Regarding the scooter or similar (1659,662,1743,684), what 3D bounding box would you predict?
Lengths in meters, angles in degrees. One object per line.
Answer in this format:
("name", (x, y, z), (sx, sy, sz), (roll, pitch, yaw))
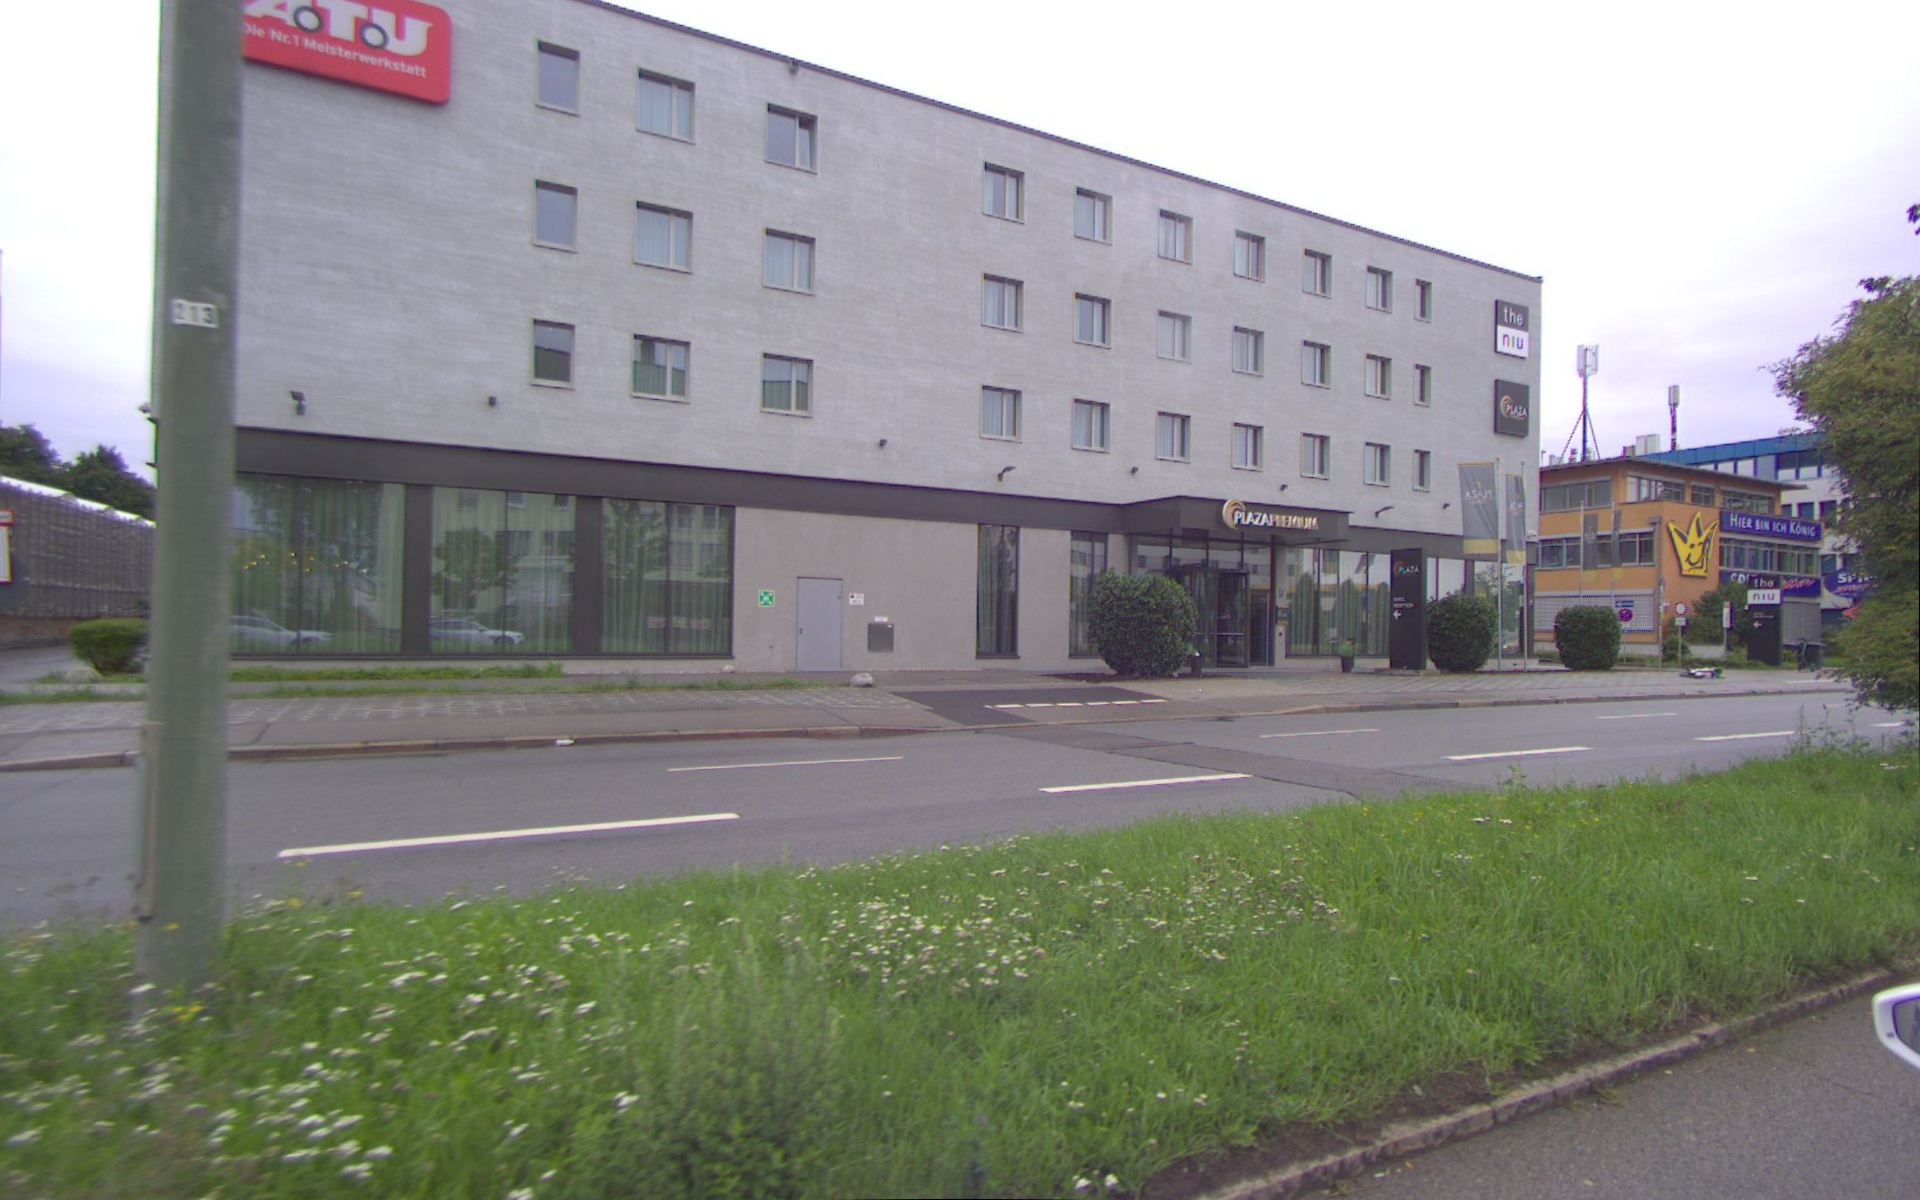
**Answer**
("scooter or similar", (24.362, 2.403, 33.032), (2.294, 0.592, 1.461), (5, -4, -31))
